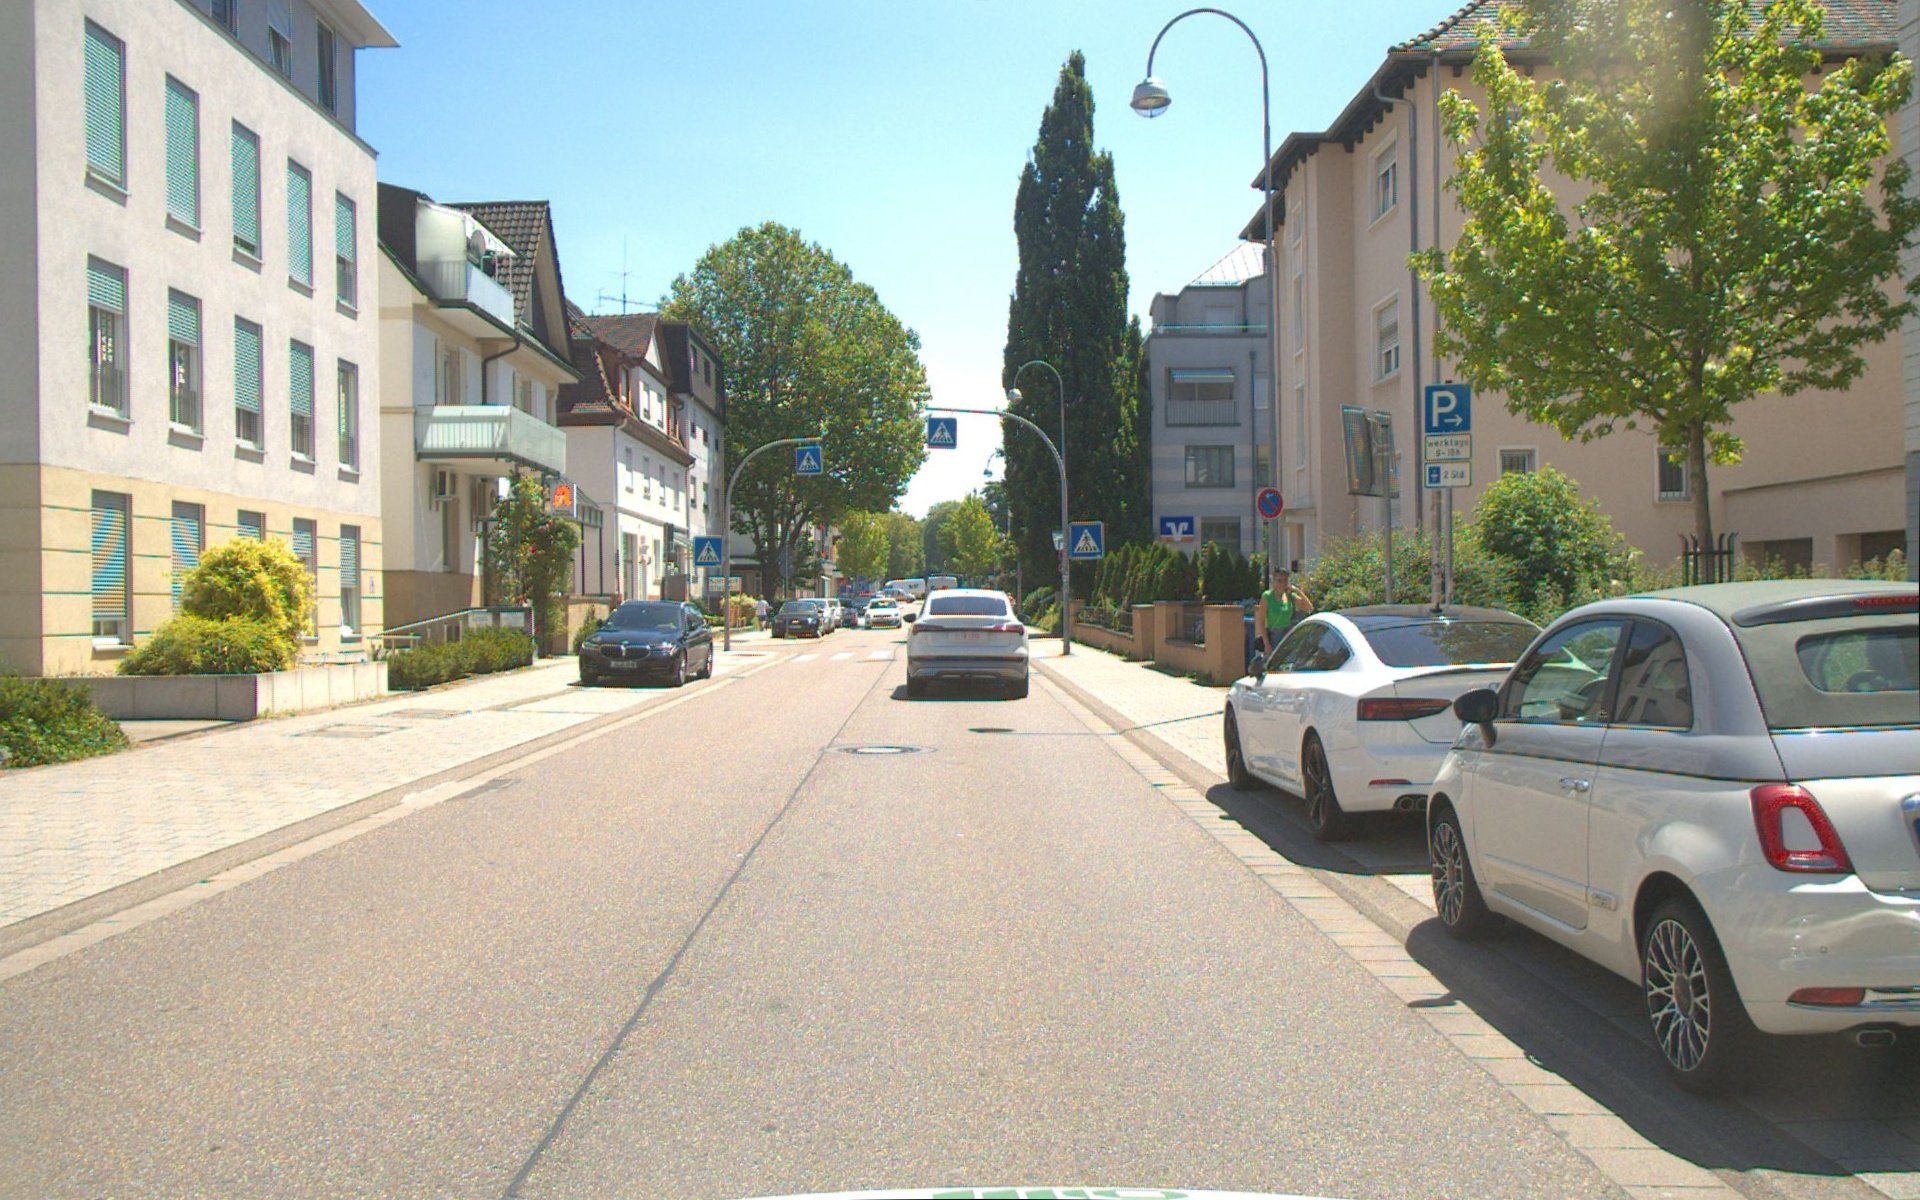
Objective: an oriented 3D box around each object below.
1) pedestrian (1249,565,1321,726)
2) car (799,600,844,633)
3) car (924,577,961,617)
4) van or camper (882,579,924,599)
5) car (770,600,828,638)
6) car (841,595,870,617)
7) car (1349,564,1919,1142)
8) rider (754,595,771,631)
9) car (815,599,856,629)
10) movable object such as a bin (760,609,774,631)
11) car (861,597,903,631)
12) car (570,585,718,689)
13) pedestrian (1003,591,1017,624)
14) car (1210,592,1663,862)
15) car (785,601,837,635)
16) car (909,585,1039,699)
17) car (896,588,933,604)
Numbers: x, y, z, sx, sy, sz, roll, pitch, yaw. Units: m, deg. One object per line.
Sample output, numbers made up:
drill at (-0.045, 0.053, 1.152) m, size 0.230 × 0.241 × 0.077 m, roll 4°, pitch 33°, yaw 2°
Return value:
pedestrian at (3.708, 0.507, 18.902) m, size 0.625 × 1.789 × 0.616 m, roll -1°, pitch 0°, yaw -5°
car at (-6.824, 0.788, 81.971) m, size 1.953 × 1.546 × 3.999 m, roll -1°, pitch 0°, yaw -2°
car at (-1.056, -0.155, 96.878) m, size 2.028 × 2.235 × 5.135 m, roll -1°, pitch 0°, yaw -2°
van or camper at (-7.585, -1.434, 219.032) m, size 5.112 × 2.557 × 2.257 m, roll -1°, pitch 0°, yaw -18°
car at (-6.261, 0.720, 64.552) m, size 1.953 × 1.373 × 3.999 m, roll -1°, pitch 0°, yaw -2°
car at (-7.773, 0.464, 123.194) m, size 1.953 × 1.546 × 3.999 m, roll -1°, pitch 0°, yaw -2°
car at (2.960, 0.657, 6.624) m, size 1.625 × 1.514 × 4.344 m, roll -3°, pitch 0°, yaw -1°
rider at (-8.757, 0.562, 73.500) m, size 0.648 × 1.580 × 0.661 m, roll -1°, pitch 0°, yaw -1°
car at (-6.624, 0.721, 88.214) m, size 1.953 × 1.546 × 3.999 m, roll -1°, pitch 0°, yaw -2°
movable object such as a bin at (-8.649, 0.884, 74.116) m, size 0.575 × 0.969 × 0.566 m, roll -1°, pitch 0°, yaw -1°
car at (-3.764, 0.650, 80.306) m, size 1.939 × 1.546 × 3.999 m, roll -1°, pitch 0°, yaw -2°
car at (-5.824, 0.641, 31.032) m, size 1.886 × 1.750 × 4.471 m, roll -2°, pitch 0°, yaw 0°
pedestrian at (2.724, 0.417, 89.850) m, size 0.680 × 1.767 × 0.667 m, roll -1°, pitch 0°, yaw -5°
car at (2.974, 0.701, 11.351) m, size 1.691 × 1.407 × 4.400 m, roll -3°, pitch 0°, yaw -1°
car at (-6.385, 0.750, 71.068) m, size 1.953 × 1.406 × 3.999 m, roll -1°, pitch 0°, yaw -2°
car at (0.197, 0.620, 26.847) m, size 1.896 × 1.642 × 4.471 m, roll 2°, pitch 0°, yaw 0°
car at (-5.199, -0.452, 189.248) m, size 3.902 × 1.680 × 2.001 m, roll -1°, pitch 0°, yaw 6°
